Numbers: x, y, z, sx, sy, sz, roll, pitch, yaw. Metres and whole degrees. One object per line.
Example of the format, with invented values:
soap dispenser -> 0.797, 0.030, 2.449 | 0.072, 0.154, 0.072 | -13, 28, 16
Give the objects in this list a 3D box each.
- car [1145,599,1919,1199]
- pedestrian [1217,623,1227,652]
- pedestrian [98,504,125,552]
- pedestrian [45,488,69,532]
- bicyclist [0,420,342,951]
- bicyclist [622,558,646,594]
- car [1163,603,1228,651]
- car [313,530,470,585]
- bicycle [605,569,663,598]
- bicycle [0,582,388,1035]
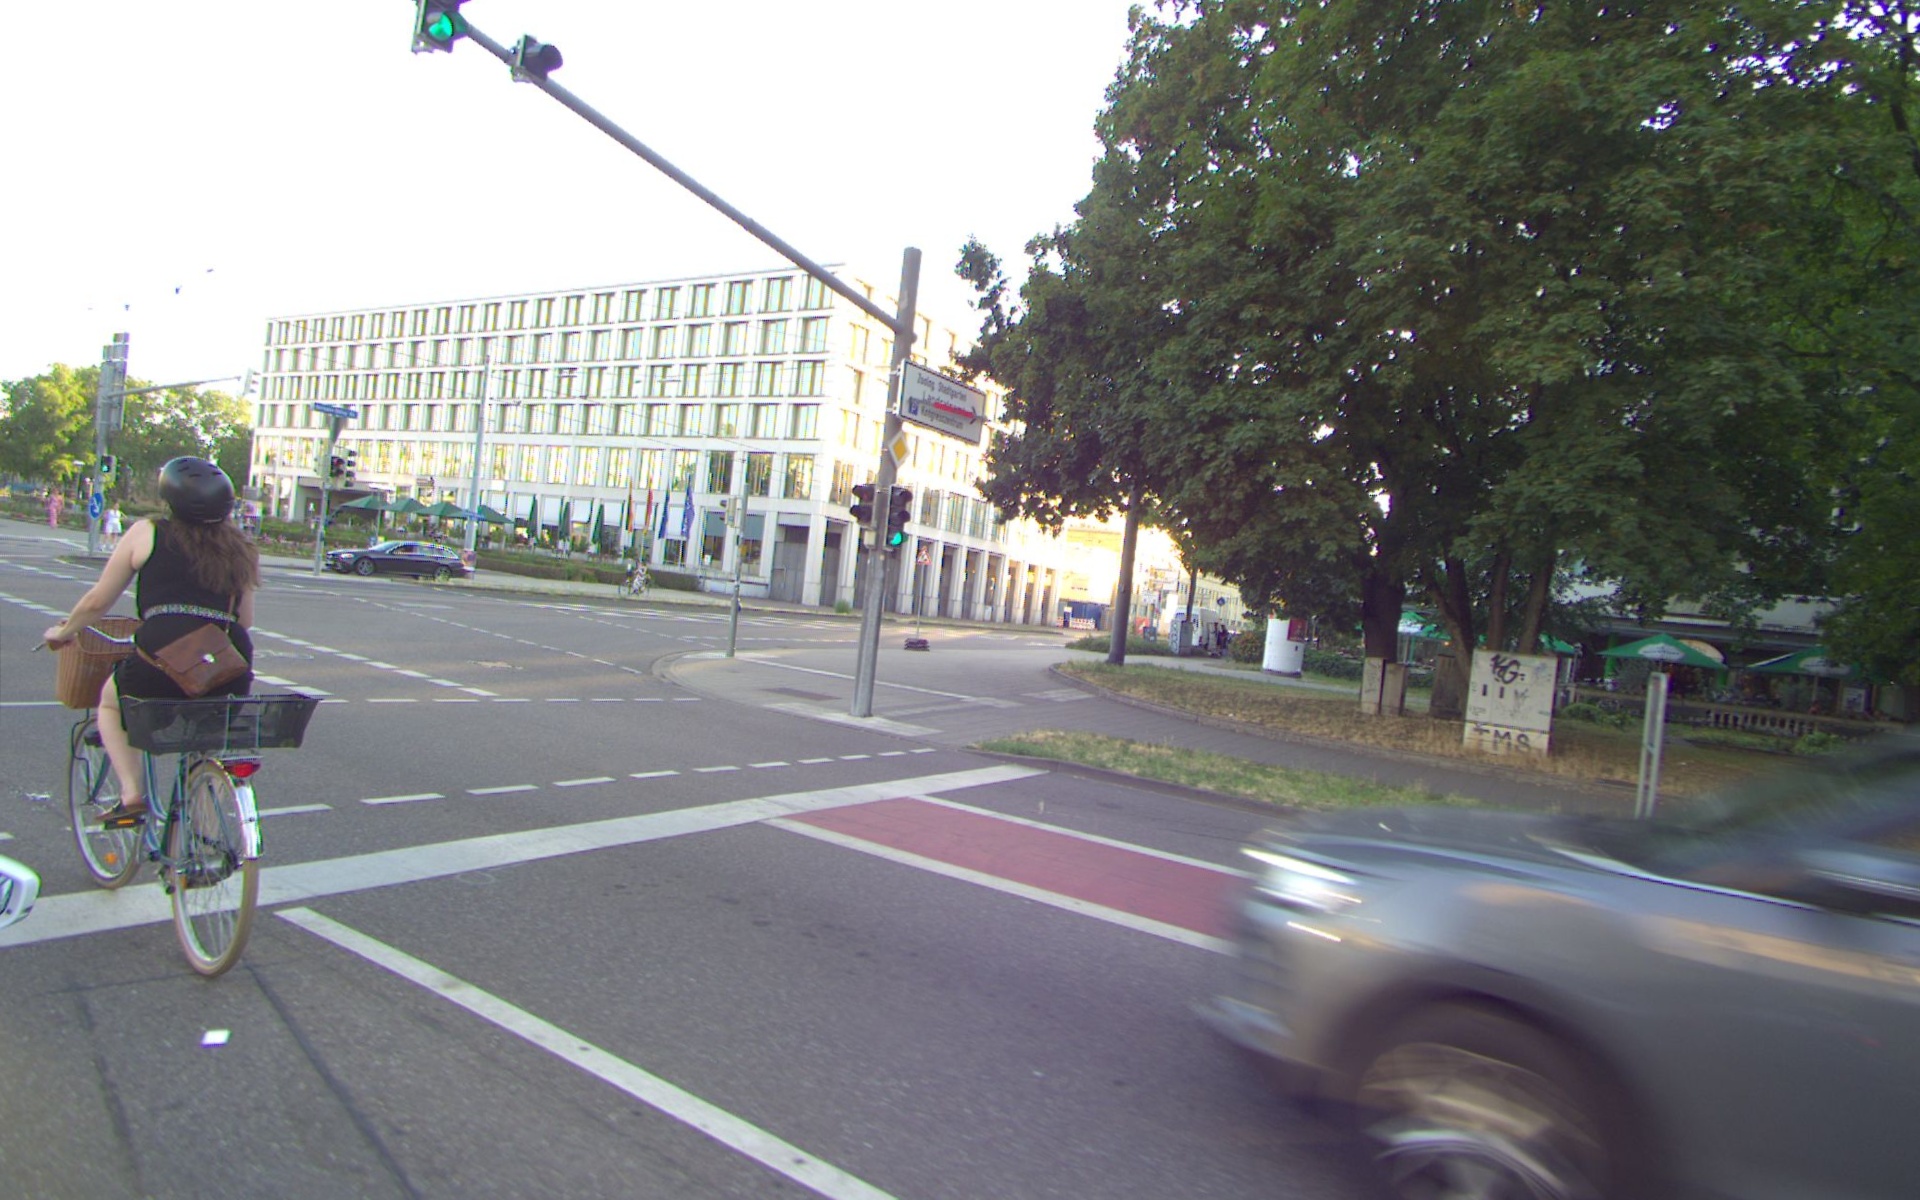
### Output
car -> 2.849, 1.085, 2.656 | 4.146, 1.647, 1.779 | 7, 0, 32
pedestrian -> 14.365, 2.041, 55.118 | 0.302, 1.525, 0.336 | 6, -1, 31
pedestrian -> -28.814, -2.433, 34.163 | 0.402, 1.559, 0.491 | 7, 1, 31
pedestrian -> -35.844, -3.570, 39.927 | 0.557, 1.678, 0.460 | 7, 2, 31
bicyclist -> -2.901, 0.246, 3.633 | 0.982, 1.655, 0.600 | 7, 0, 32
bicyclist -> -14.995, -1.118, 46.320 | 0.567, 1.556, 0.708 | 7, 1, 29
car -> 12.900, 1.502, 54.867 | 1.967, 2.318, 4.605 | 6, 0, 31
car -> -21.845, -1.605, 38.859 | 1.968, 1.534, 4.826 | 7, 0, 34
bicycle -> -15.009, -0.745, 46.371 | 0.592, 1.120, 2.775 | 7, 0, 29
bicycle -> -2.988, 0.607, 3.655 | 1.971, 1.146, 0.612 | 7, -1, 32
